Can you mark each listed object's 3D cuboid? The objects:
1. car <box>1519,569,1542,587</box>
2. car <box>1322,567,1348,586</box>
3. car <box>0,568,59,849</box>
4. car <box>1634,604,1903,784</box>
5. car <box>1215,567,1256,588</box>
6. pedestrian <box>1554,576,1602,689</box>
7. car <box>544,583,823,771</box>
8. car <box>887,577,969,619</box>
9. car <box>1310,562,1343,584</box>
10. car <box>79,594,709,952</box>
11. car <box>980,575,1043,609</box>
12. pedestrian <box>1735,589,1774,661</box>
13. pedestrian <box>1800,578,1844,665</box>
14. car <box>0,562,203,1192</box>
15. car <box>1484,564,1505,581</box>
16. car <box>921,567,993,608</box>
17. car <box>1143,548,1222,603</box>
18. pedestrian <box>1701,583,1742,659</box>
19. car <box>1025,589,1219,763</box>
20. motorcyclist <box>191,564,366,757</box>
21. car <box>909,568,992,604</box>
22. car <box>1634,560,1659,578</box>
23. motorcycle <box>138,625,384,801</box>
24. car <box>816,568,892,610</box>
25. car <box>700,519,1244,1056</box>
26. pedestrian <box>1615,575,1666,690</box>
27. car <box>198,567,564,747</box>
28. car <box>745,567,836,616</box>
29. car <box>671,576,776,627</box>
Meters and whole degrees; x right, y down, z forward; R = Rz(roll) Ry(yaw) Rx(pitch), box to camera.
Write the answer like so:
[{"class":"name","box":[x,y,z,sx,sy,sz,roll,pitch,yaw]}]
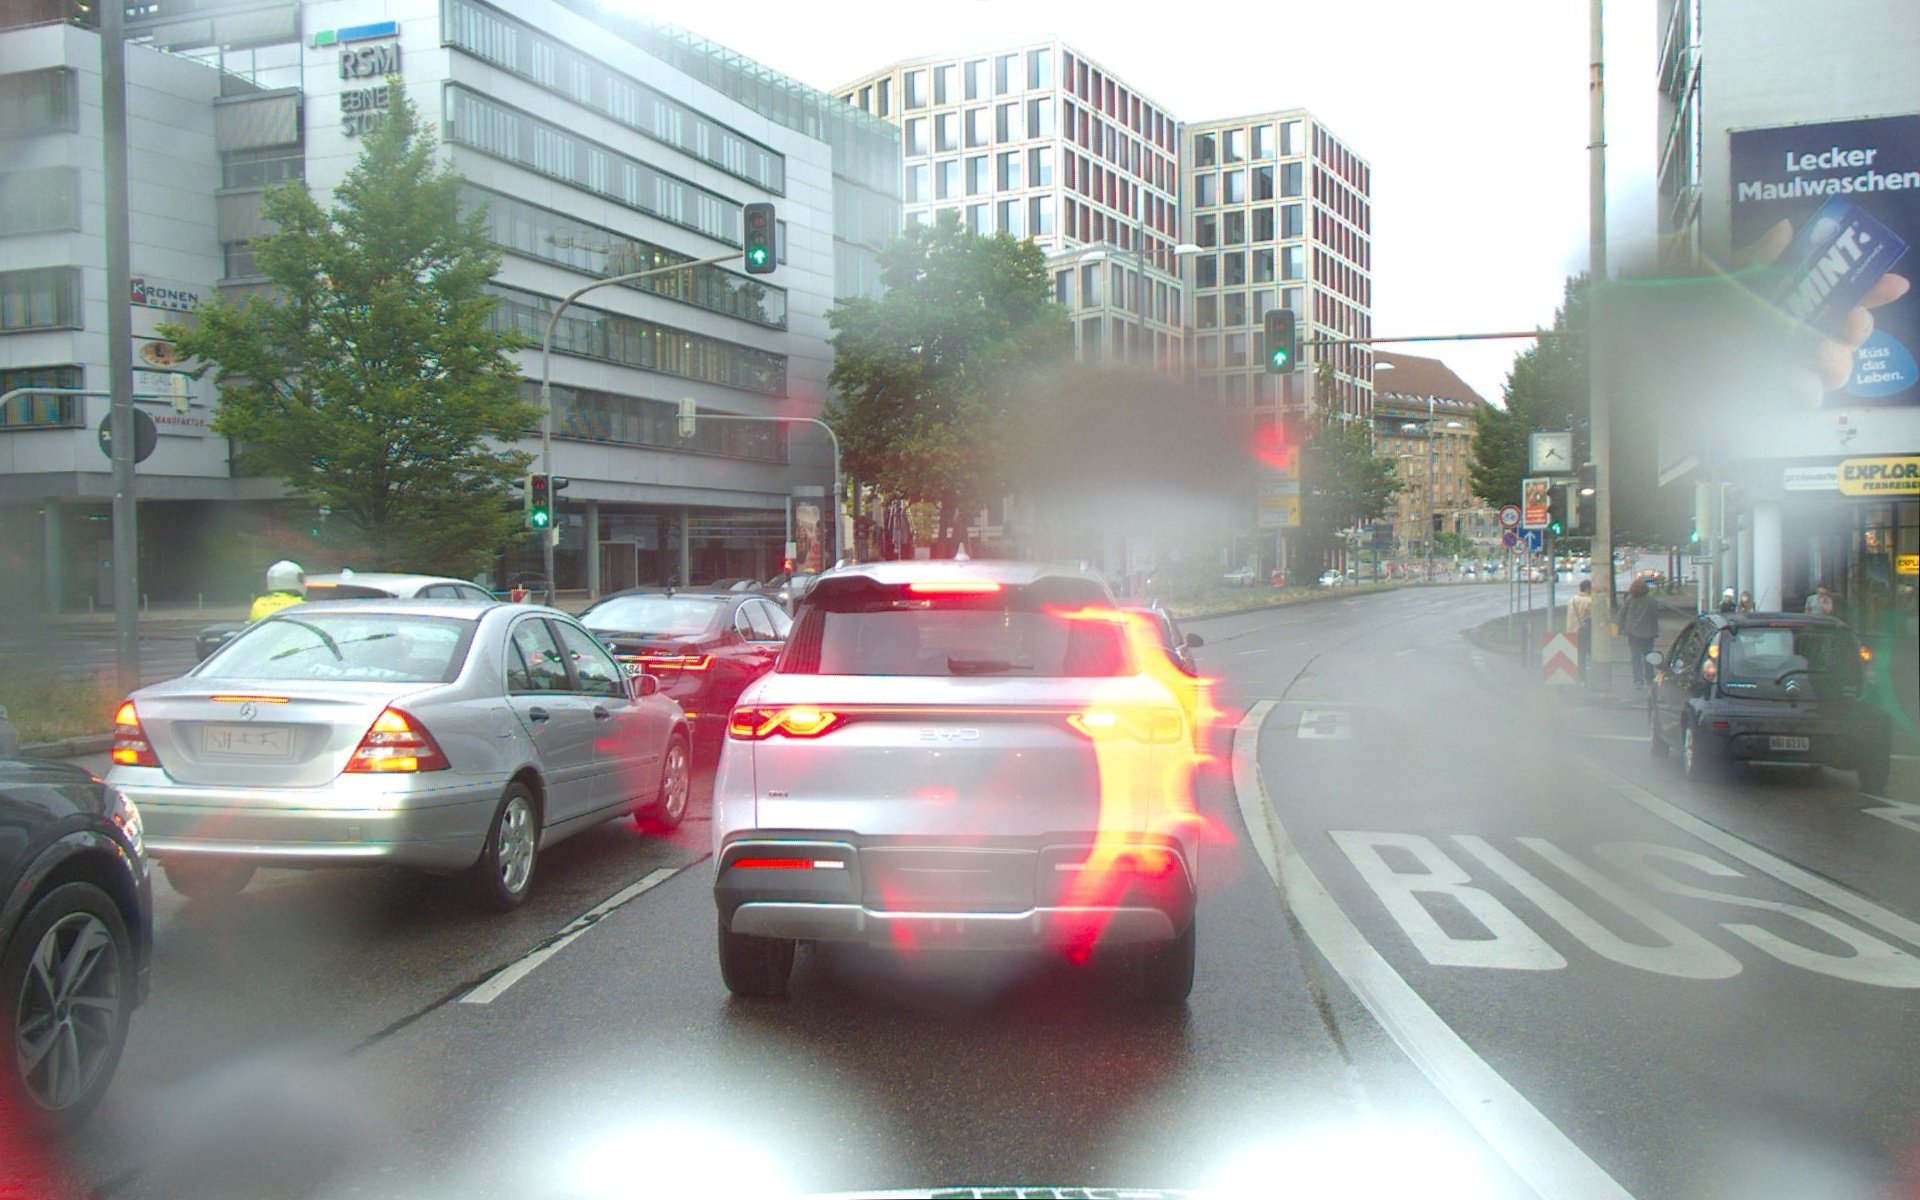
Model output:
[{"class":"car","box":[52.801,-2.020,152.946,1.849,1.671,4.000,1,1,22]},{"class":"car","box":[37.237,-2.333,164.161,1.577,1.771,3.437,1,0,31]},{"class":"car","box":[-6.187,0.605,7.355,1.827,1.560,4.776,1,1,-1]},{"class":"car","box":[7.482,0.786,15.655,1.537,1.454,4.003,1,0,15]},{"class":"car","box":[20.530,-1.657,123.078,1.955,1.514,3.996,0,1,27]},{"class":"pedestrian","box":[10.204,0.520,27.332,0.733,1.829,0.817,0,1,20]},{"class":"car","box":[-2.433,0.639,15.534,1.537,1.512,4.003,1,0,6]},{"class":"car","box":[-1.087,-0.046,58.401,1.655,1.409,3.870,1,0,18]},{"class":"car","box":[25.019,-1.833,112.817,1.598,1.462,3.907,0,1,23]},{"class":"car","box":[-2.655,0.716,8.849,1.537,1.432,4.112,1,0,7]},{"class":"car","box":[2.576,-0.435,81.417,1.598,1.586,4.592,0,1,23]},{"class":"pedestrian","box":[17.627,0.548,36.696,0.615,1.570,0.649,1,0,43]},{"class":"pedestrian","box":[18.414,0.444,35.326,0.659,1.825,0.768,1,0,43]},{"class":"car","box":[-3.148,0.680,2.977,1.614,1.548,4.271,1,1,0]},{"class":"car","box":[65.970,-3.403,204.219,1.954,2.049,3.996,1,0,26]},{"class":"car","box":[-0.102,-0.518,68.334,1.610,1.608,4.086,1,0,21]},{"class":"car","box":[8.834,-0.936,65.273,1.953,2.049,4.848,1,0,22]},{"class":"pedestrian","box":[17.114,0.465,37.187,0.659,1.684,0.649,1,0,43]},{"class":"car","box":[1.738,0.680,16.657,1.657,1.512,4.003,1,0,10]},{"class":"motorcyclist","box":[-5.240,0.447,12.780,0.753,1.404,1.119,1,0,8]},{"class":"car","box":[-0.381,-0.658,75.276,1.777,1.536,5.193,0,1,25]},{"class":"car","box":[62.847,-2.806,151.367,1.662,1.512,3.993,1,0,29]},{"class":"motorcycle","box":[-5.305,0.813,12.721,0.783,1.205,2.030,1,0,8]},{"class":"car","box":[-4.245,-0.424,67.035,1.605,1.598,3.718,1,0,22]},{"class":"car","box":[0.083,0.613,7.361,1.739,1.708,4.000,1,0,1]},{"class":"pedestrian","box":[11.049,0.519,26.870,0.733,1.829,0.817,0,1,20]},{"class":"car","box":[-5.459,0.495,16.188,1.670,1.512,4.003,1,0,9]},{"class":"car","box":[-5.635,-0.290,55.426,1.609,1.563,4.155,1,0,16]},{"class":"car","box":[-8.231,0.031,57.890,1.952,1.638,4.001,2,1,20]}]
